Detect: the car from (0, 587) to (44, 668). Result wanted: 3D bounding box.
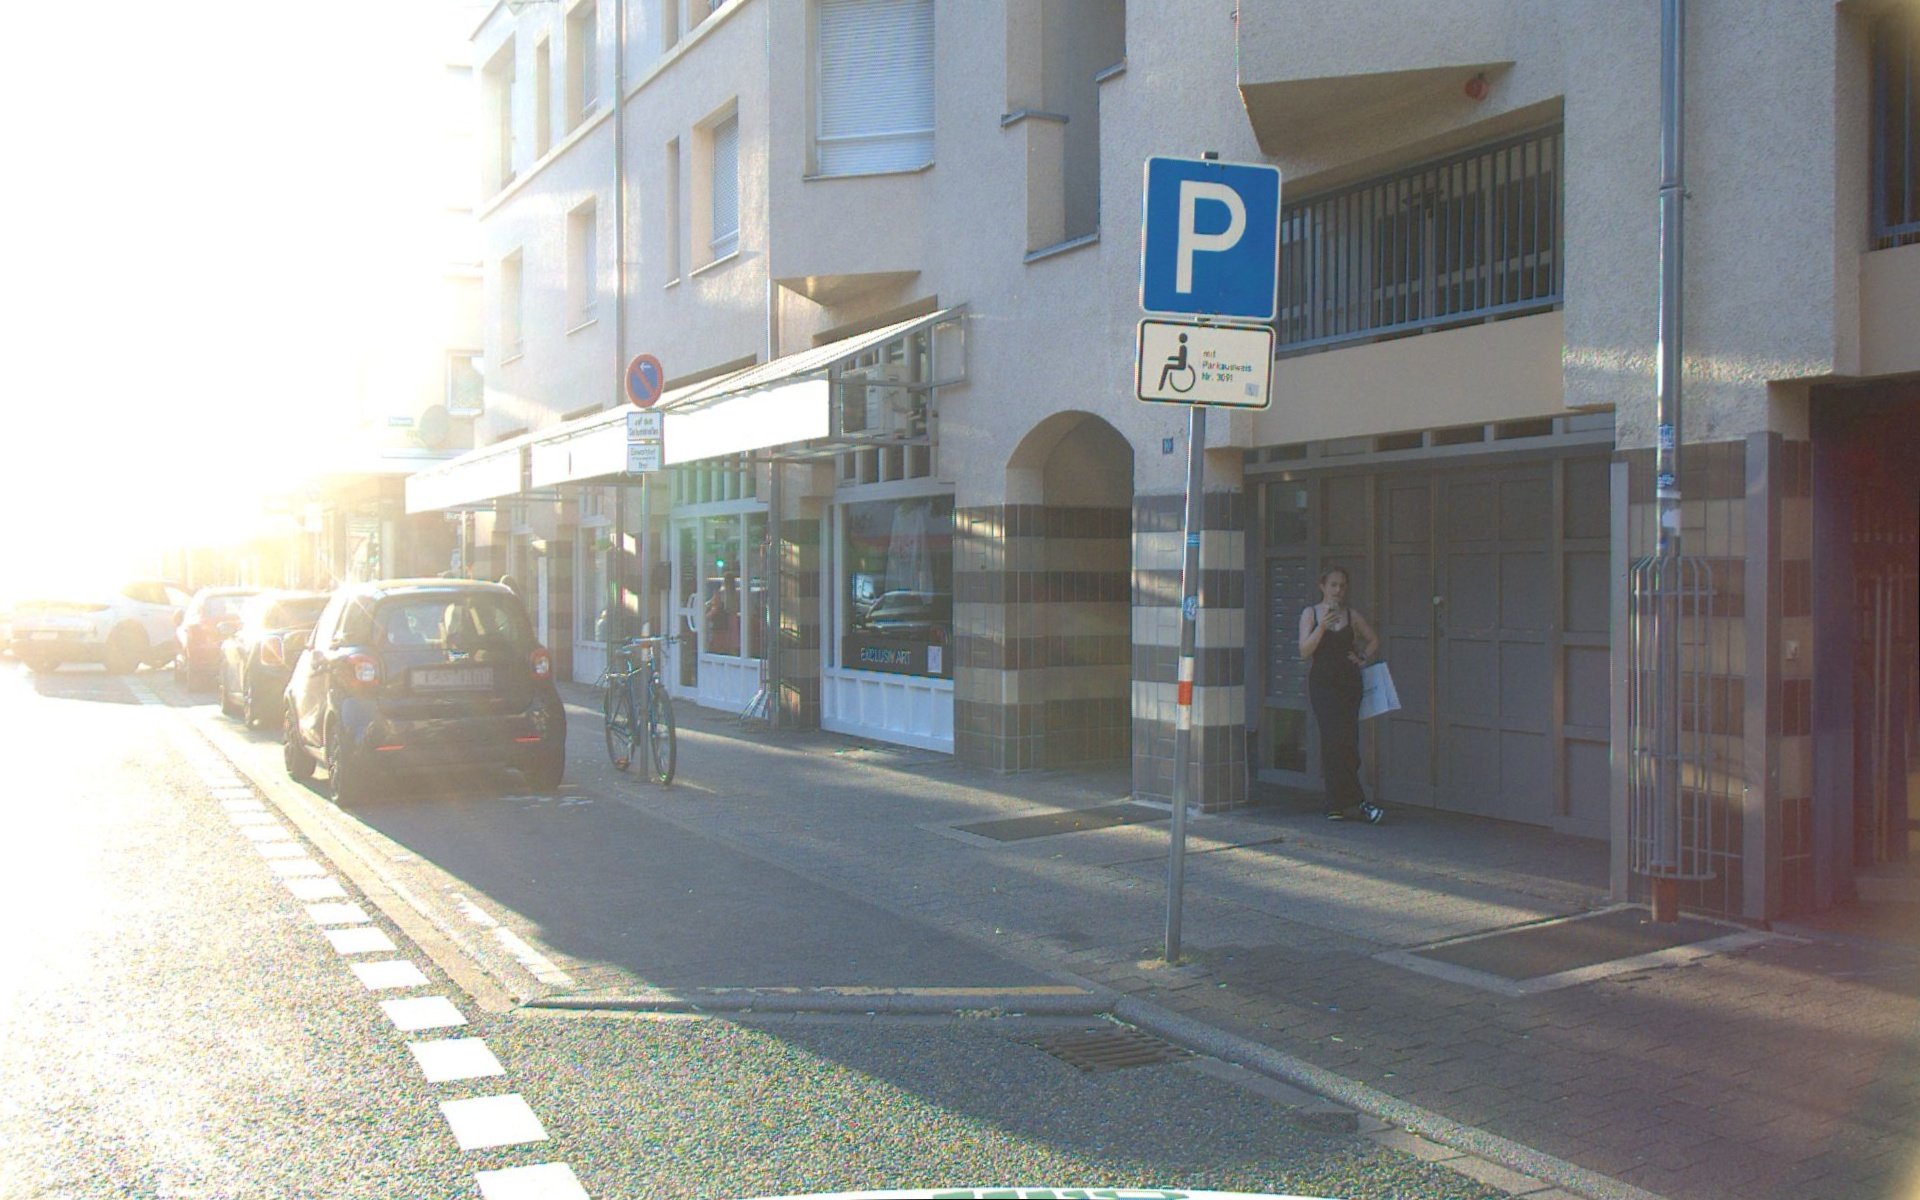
[{"bbox_3d":[-19.384,0.504,33.110,1.670,1.529,3.753,2,0,-28],"label":"car"}]

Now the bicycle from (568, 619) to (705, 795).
[{"bbox_3d":[-2.570,0.784,12.978,0.551,1.227,1.960,0,1,-27],"label":"bicycle"}]

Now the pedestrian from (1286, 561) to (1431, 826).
[{"bbox_3d":[2.458,0.559,10.240,0.760,1.600,0.533,0,0,-2],"label":"pedestrian"}]

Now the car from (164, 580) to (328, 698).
[{"bbox_3d":[-10.783,0.514,24.853,1.771,1.608,3.747,0,1,-31],"label":"car"}]

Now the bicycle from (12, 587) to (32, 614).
[{"bbox_3d":[-44.058,0.023,77.700,0.655,1.264,2.112,2,0,-26],"label":"bicycle"}]

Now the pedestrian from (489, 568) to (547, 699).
[{"bbox_3d":[-5.964,0.433,22.304,0.553,1.729,0.823,-1,1,-30],"label":"pedestrian"}]

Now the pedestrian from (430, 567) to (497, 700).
[{"bbox_3d":[-6.646,0.432,22.115,0.623,1.729,1.030,-1,1,-30],"label":"pedestrian"}]

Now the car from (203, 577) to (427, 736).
[{"bbox_3d":[-7.401,0.540,18.787,1.771,1.608,3.747,0,1,-31],"label":"car"}]

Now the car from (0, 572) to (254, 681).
[{"bbox_3d":[-14.467,0.431,29.021,1.833,1.727,4.324,1,0,8],"label":"car"}]

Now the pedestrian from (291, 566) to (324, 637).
[{"bbox_3d":[-17.127,0.030,43.398,0.710,1.822,0.660,-1,1,-29],"label":"pedestrian"}]

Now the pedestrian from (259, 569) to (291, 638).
[{"bbox_3d":[-18.492,0.088,44.638,0.710,1.822,0.660,-1,1,-29],"label":"pedestrian"}]

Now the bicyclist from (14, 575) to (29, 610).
[{"bbox_3d":[-44.081,-0.358,77.658,0.540,1.608,0.796,-1,1,-26],"label":"bicyclist"}]

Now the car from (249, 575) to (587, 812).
[{"bbox_3d":[-4.493,0.602,13.338,1.771,1.608,3.925,0,1,-31],"label":"car"}]
